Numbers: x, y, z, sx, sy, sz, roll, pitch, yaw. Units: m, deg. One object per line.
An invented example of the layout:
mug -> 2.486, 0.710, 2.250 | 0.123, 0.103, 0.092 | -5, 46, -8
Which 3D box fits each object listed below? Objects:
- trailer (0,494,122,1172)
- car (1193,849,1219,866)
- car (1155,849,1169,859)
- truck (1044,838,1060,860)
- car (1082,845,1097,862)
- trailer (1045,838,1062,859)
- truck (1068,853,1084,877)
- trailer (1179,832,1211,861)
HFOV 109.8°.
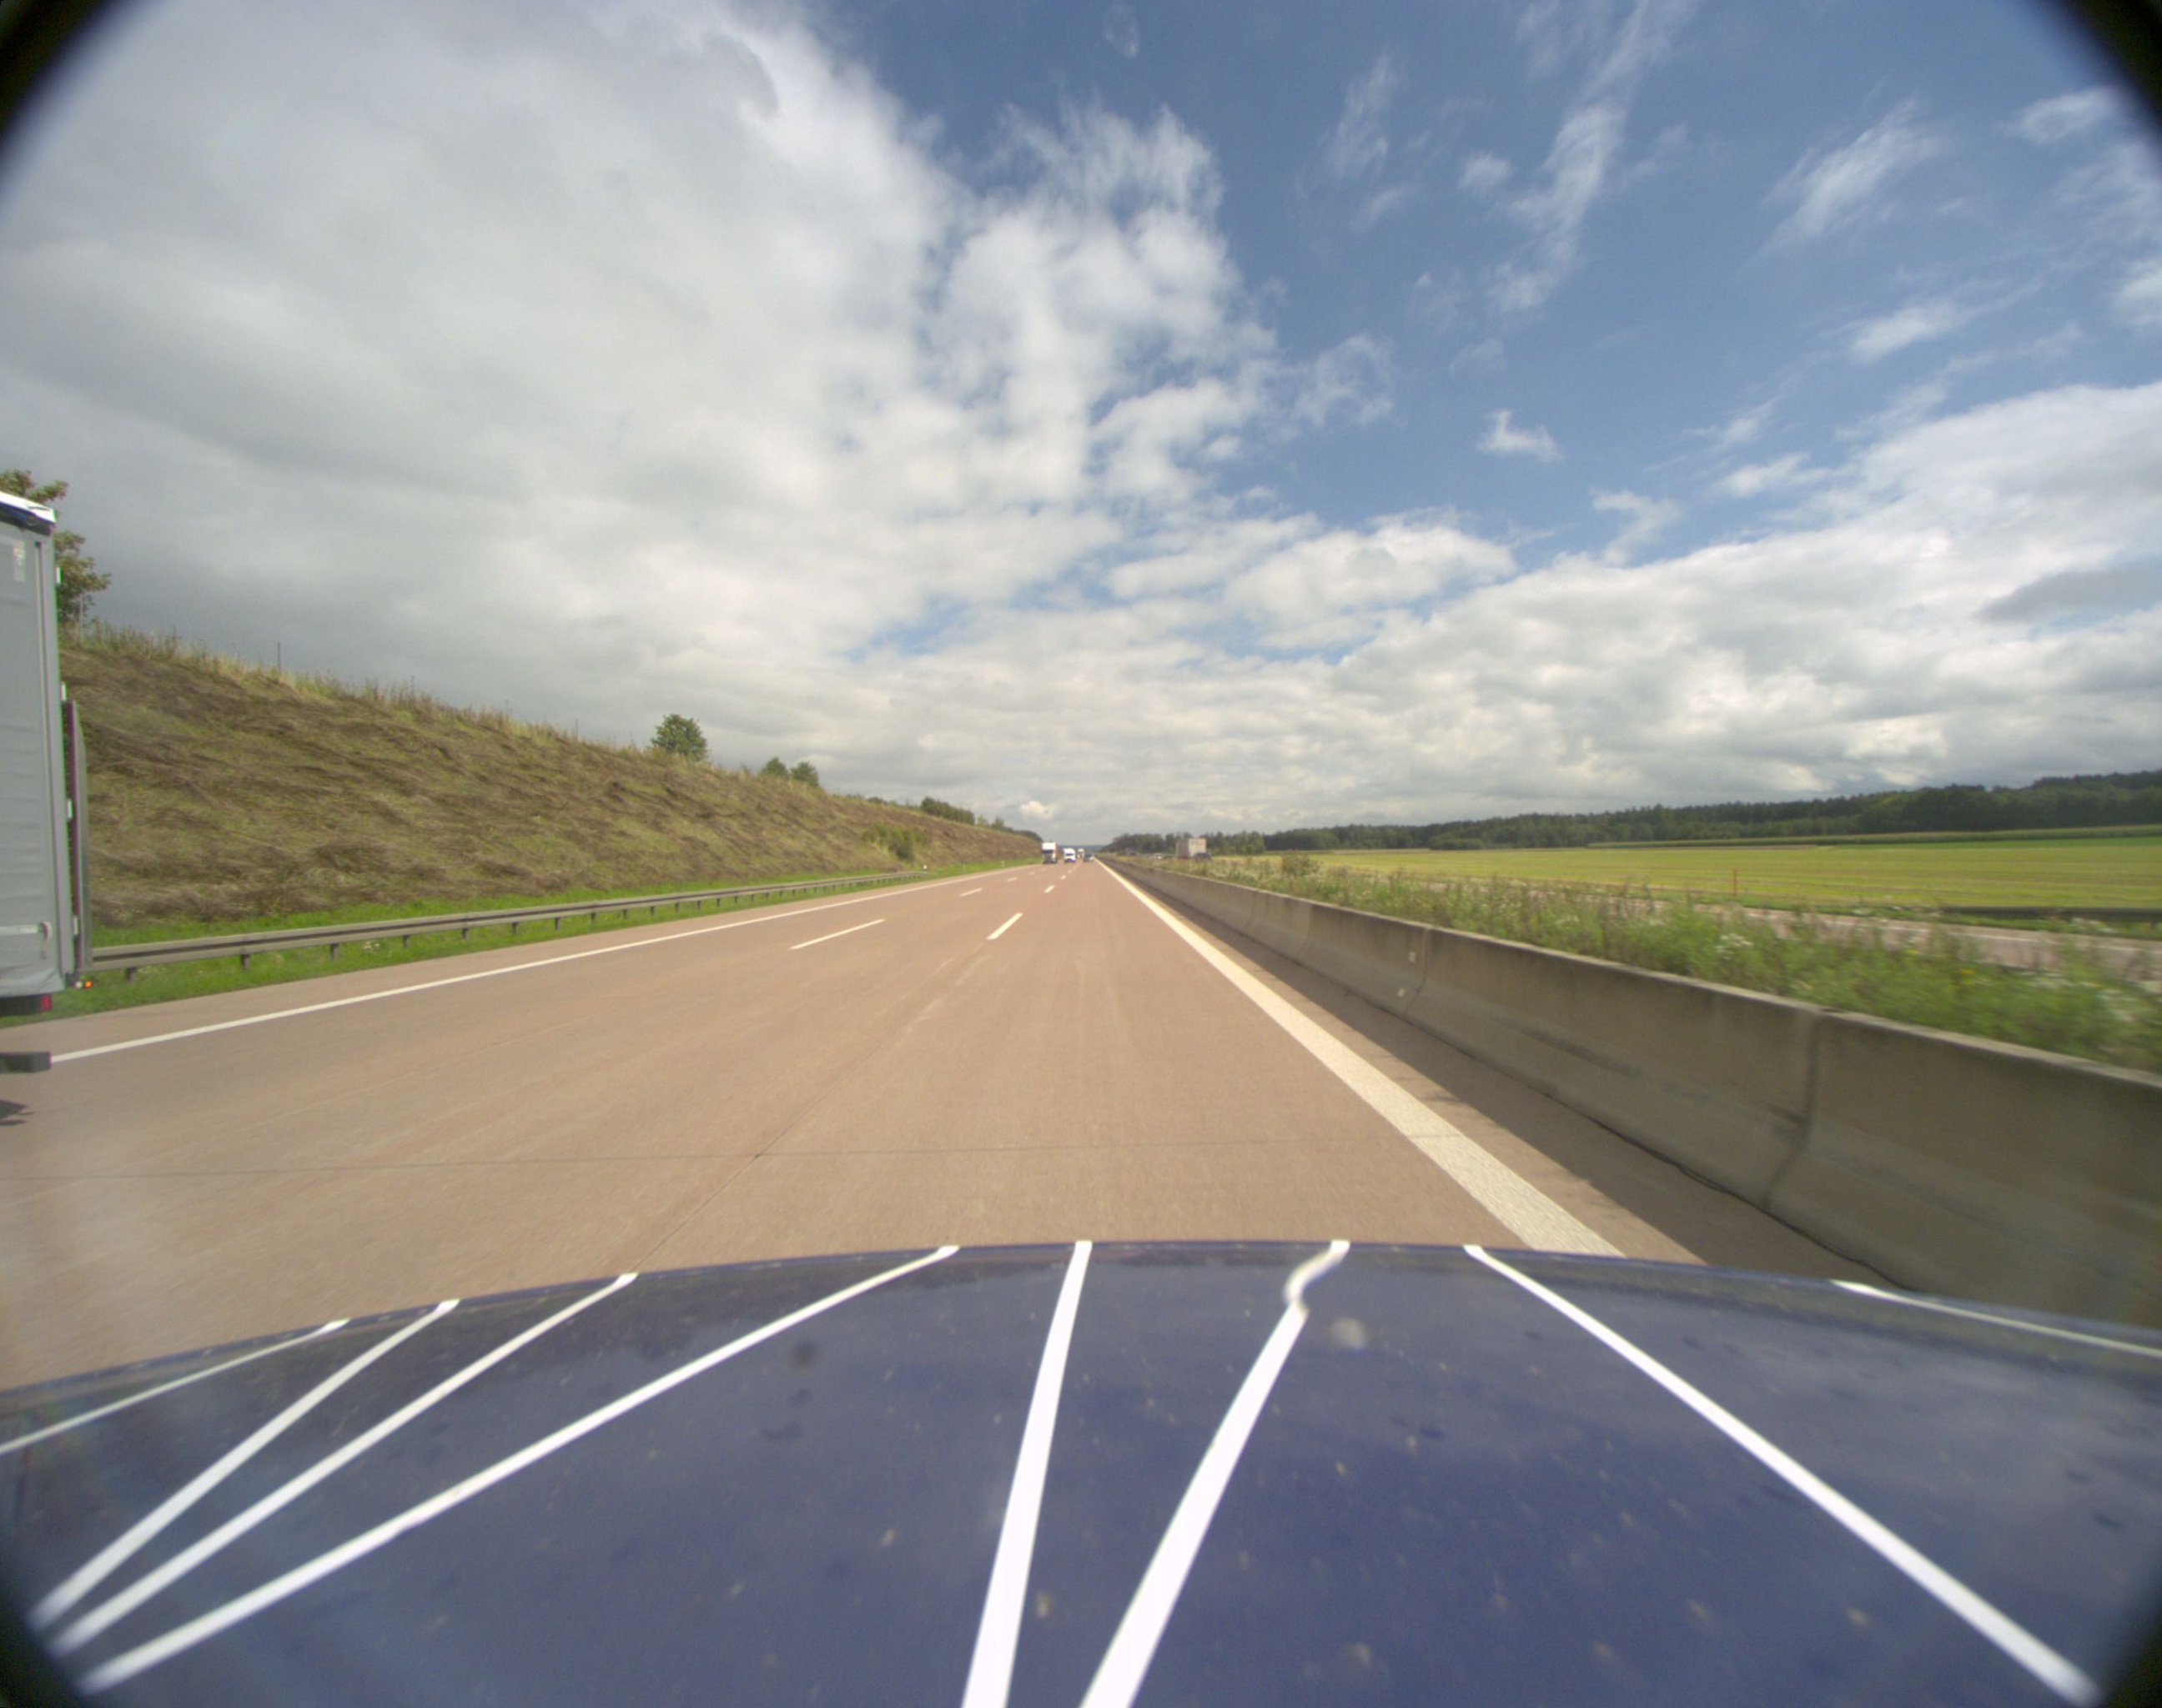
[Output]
trailer -> -7.666, -0.065, 0.576 | 2.755, 3.989, 8.669 | -2, 1, -1
car -> 13.002, 0.320, 79.208 | 1.998, 1.689, 4.255 | 0, 0, 0
car -> 14.385, -0.036, 134.884 | 1.999, 1.648, 4.784 | 0, 1, 0
truck -> -5.649, -1.017, 150.208 | 2.681, 4.082, 6.616 | -2, 0, 1
car -> 1.832, -0.042, 157.672 | 2.773, 3.260, 6.393 | -3, 0, 2
trailer -> -5.564, -1.023, 156.247 | 2.679, 4.069, 12.789 | -2, 0, 1
truck -> -0.980, 2.130, 149.990 | 2.681, 4.333, 11.808 | -3, 0, 1
trailer -> 17.479, -1.046, 117.607 | 3.215, 4.074, 13.259 | -3, 0, 2
